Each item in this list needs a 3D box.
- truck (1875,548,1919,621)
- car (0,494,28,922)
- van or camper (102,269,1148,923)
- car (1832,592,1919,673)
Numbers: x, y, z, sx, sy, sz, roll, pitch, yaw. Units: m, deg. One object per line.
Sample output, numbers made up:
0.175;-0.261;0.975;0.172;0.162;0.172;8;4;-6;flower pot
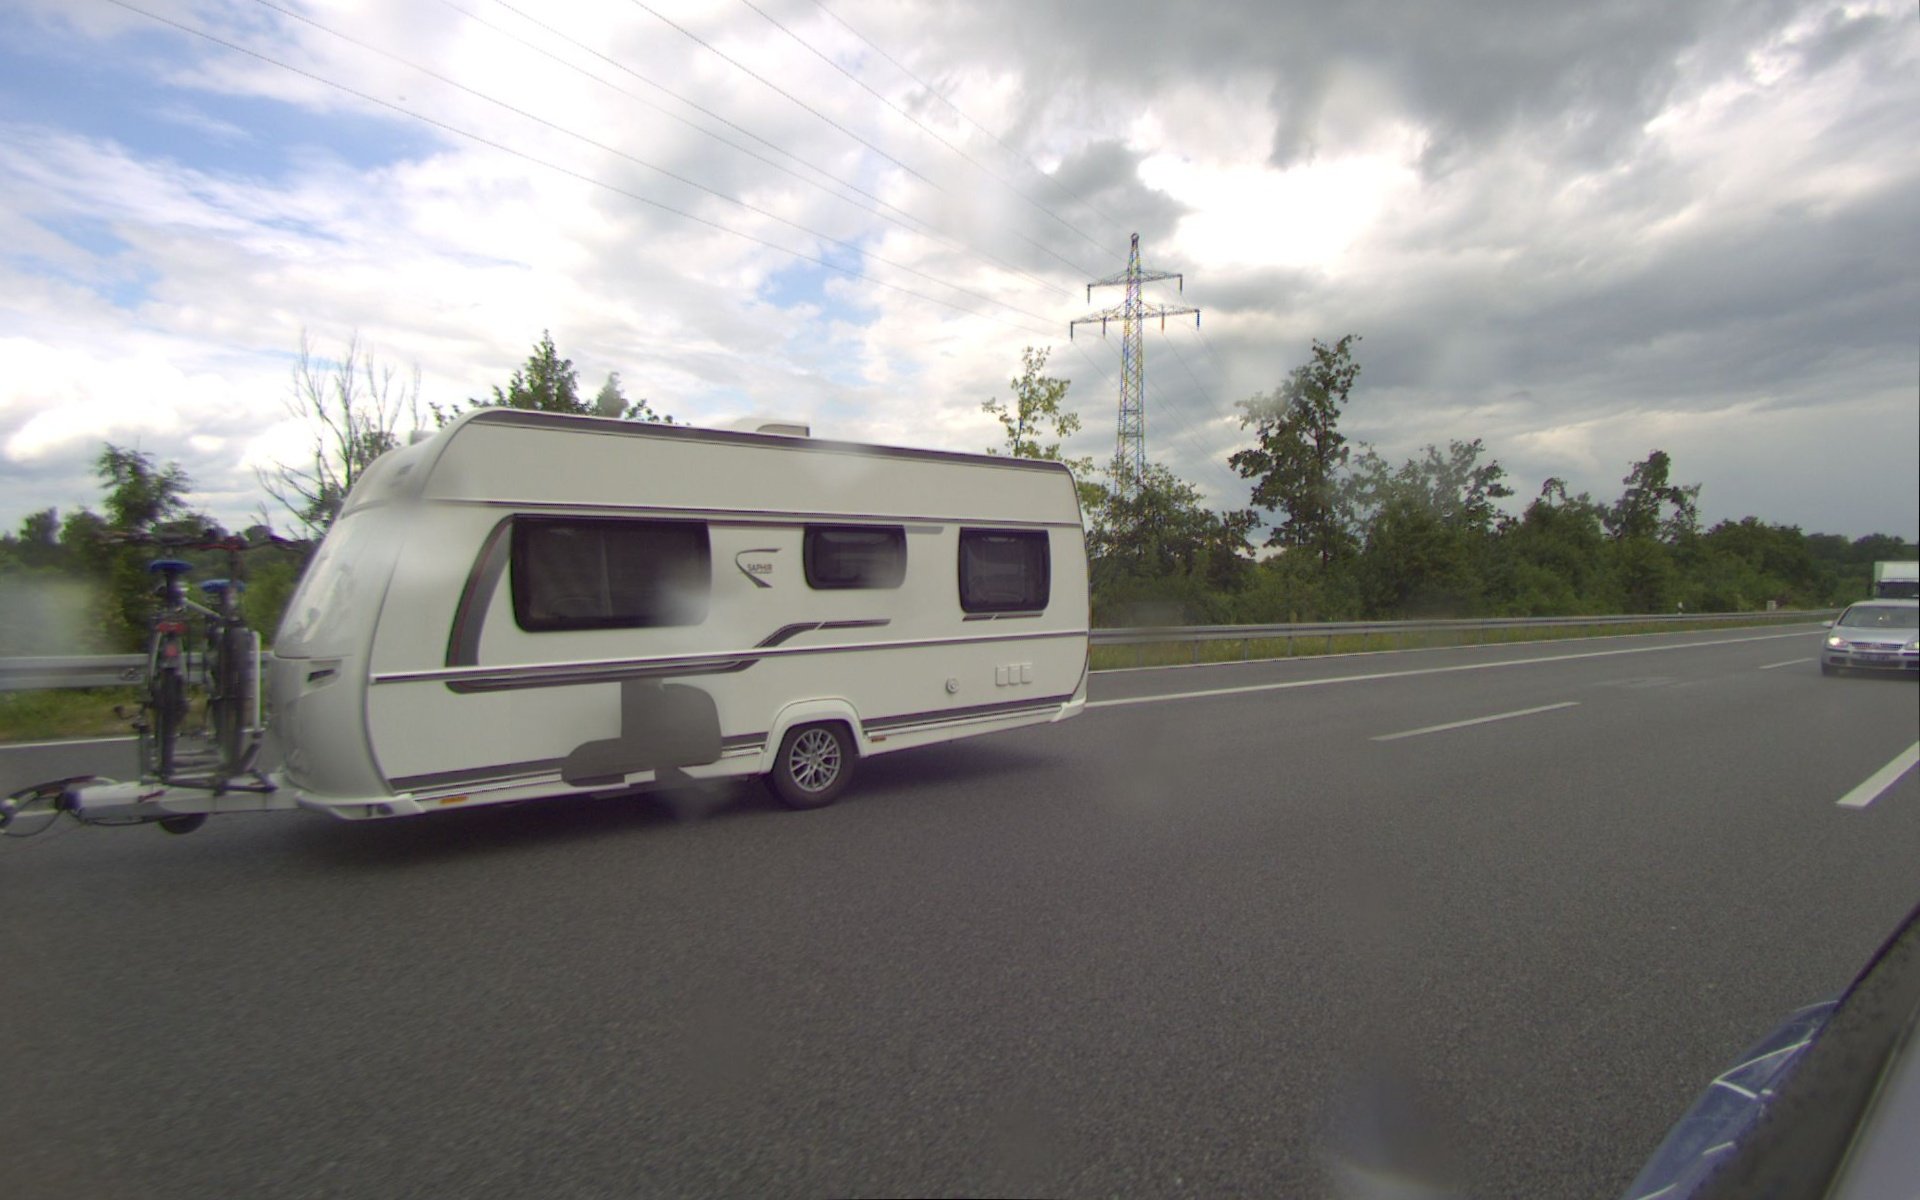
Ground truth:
52.367;-0.828;54.857;9.424;3.700;2.868;-1;0;-40;truck
-6.280;0.460;3.513;4.425;1.798;1.923;-1;1;-42;car
-1.749;-0.050;7.561;7.085;2.773;2.387;-1;0;-42;van or camper
18.750;0.587;19.997;3.929;1.464;1.683;0;1;-40;car
